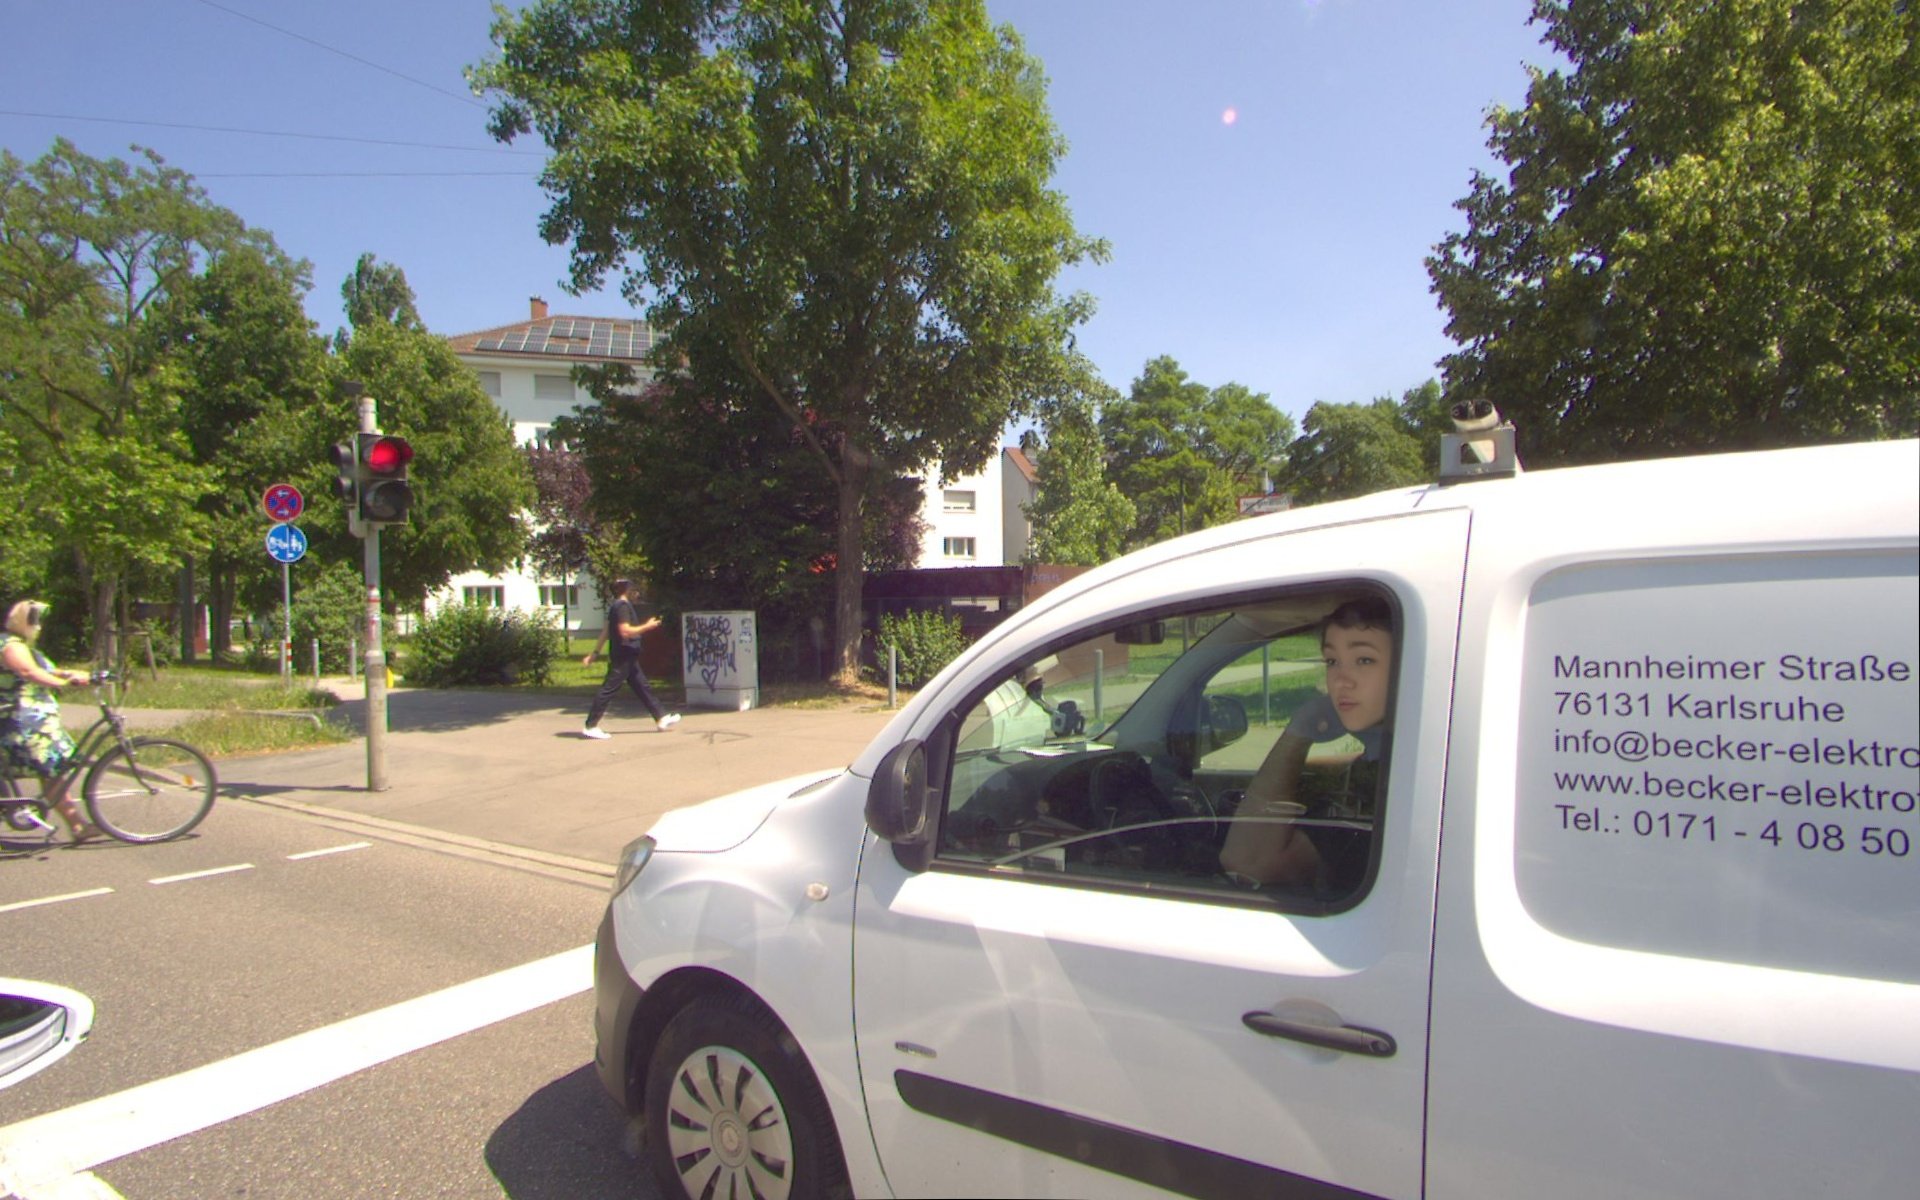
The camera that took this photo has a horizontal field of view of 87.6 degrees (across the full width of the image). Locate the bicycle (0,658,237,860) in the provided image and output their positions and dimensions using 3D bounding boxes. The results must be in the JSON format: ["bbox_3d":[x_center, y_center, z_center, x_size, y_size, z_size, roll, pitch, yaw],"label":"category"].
[{"bbox_3d":[-5.928,1.001,6.485,0.534,1.176,1.952,1,0,35],"label":"bicycle"}]

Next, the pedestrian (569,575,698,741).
[{"bbox_3d":[-3.785,0.638,11.602,1.173,1.801,0.835,-2,1,-34],"label":"pedestrian"}]

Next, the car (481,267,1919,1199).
[{"bbox_3d":[1.116,0.564,2.304,4.384,1.850,1.990,-1,0,32],"label":"car"}]

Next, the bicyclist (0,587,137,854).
[{"bbox_3d":[-6.180,0.764,6.669,0.572,1.689,0.954,1,0,36],"label":"bicyclist"}]
